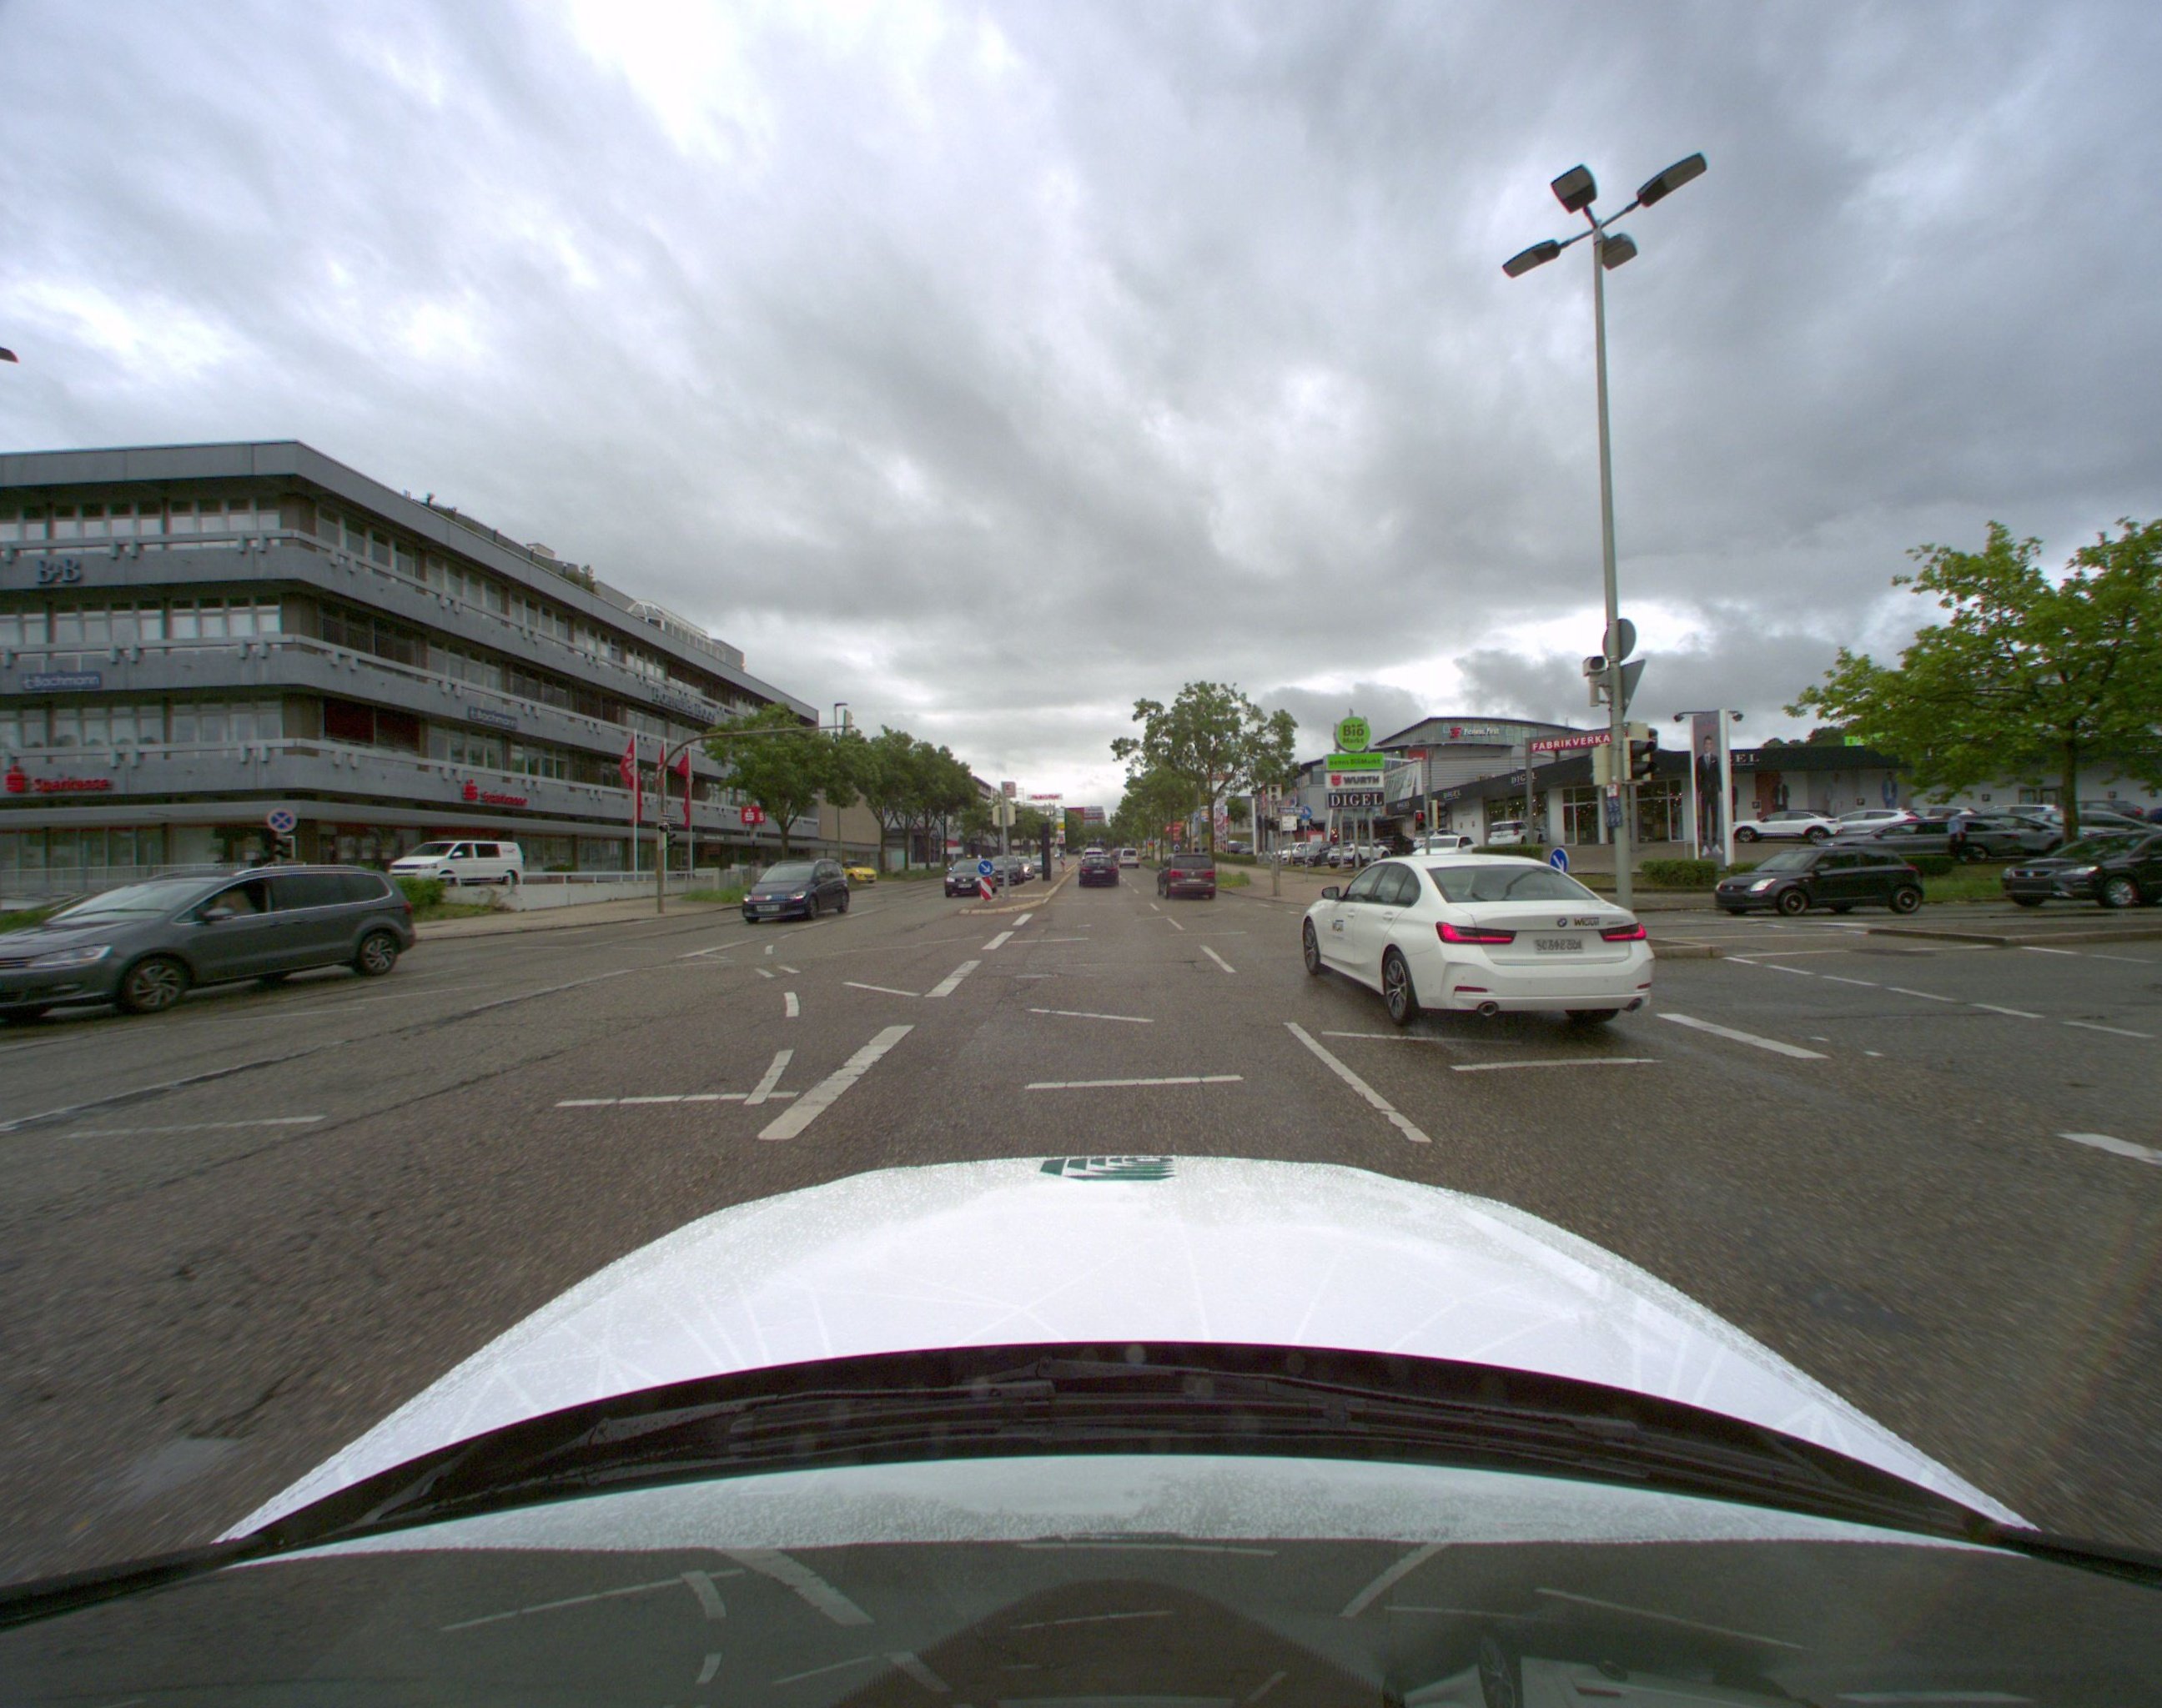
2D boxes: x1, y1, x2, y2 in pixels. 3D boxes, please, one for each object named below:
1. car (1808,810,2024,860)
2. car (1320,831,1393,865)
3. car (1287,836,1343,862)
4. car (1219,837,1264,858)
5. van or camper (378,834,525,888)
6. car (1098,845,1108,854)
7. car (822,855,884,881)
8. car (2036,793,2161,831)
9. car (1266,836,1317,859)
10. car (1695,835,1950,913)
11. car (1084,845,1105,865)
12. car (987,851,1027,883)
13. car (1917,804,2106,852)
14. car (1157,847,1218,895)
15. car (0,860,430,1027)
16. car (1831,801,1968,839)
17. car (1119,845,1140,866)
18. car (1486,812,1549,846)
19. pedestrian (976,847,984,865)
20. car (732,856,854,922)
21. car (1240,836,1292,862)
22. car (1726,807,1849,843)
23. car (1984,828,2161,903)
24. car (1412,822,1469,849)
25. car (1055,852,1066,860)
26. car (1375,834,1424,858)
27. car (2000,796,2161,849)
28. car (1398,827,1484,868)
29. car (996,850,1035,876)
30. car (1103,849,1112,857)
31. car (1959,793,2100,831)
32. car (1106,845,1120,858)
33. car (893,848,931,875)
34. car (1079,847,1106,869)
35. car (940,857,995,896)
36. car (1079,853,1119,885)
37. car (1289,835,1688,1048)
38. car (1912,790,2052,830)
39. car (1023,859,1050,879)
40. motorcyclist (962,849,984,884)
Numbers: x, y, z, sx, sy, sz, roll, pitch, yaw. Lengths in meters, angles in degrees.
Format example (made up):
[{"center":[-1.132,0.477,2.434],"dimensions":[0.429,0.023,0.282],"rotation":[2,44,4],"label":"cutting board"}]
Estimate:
[{"center":[28.052,-0.596,27.586],"dimensions":[2.011,1.486,4.948],"rotation":[-2,0,-43],"label":"car"},{"center":[15.711,-0.343,46.413],"dimensions":[4.047,1.662,1.960],"rotation":[-4,1,-38],"label":"car"},{"center":[15.016,-0.314,52.179],"dimensions":[3.616,1.536,1.625],"rotation":[-2,0,-38],"label":"car"},{"center":[16.066,-0.659,81.676],"dimensions":[4.093,1.904,1.801],"rotation":[-2,0,3],"label":"car"},{"center":[-24.904,0.296,32.504],"dimensions":[1.986,1.967,4.789],"rotation":[0,-1,2],"label":"van or camper"},{"center":[3.613,-0.728,134.844],"dimensions":[1.510,1.474,3.445],"rotation":[0,-1,1],"label":"car"},{"center":[-15.109,0.941,53.903],"dimensions":[3.948,1.552,1.912],"rotation":[-2,0,36],"label":"car"},{"center":[46.527,-1.894,36.944],"dimensions":[1.747,1.481,4.106],"rotation":[-2,0,-39],"label":"car"},{"center":[15.464,-0.468,59.725],"dimensions":[3.616,1.536,1.776],"rotation":[-2,0,-38],"label":"car"},{"center":[16.437,0.438,18.229],"dimensions":[3.964,1.489,1.818],"rotation":[-3,-1,1],"label":"car"},{"center":[1.396,0.131,81.497],"dimensions":[1.986,2.014,4.001],"rotation":[0,-1,2],"label":"car"},{"center":[-3.833,0.648,42.781],"dimensions":[1.740,1.489,4.826],"rotation":[-2,0,-2],"label":"car"},{"center":[31.451,-0.823,27.631],"dimensions":[1.992,1.380,4.107],"rotation":[2,-2,-38],"label":"car"},{"center":[3.740,0.565,29.292],"dimensions":[1.794,1.587,4.453],"rotation":[0,0,2],"label":"car"},{"center":[-11.951,1.004,11.211],"dimensions":[1.904,1.727,4.885],"rotation":[-2,0,1],"label":"car"},{"center":[37.193,-1.524,37.101],"dimensions":[1.745,1.481,4.109],"rotation":[-2,0,-35],"label":"car"},{"center":[4.459,0.148,75.028],"dimensions":[1.775,1.866,4.001],"rotation":[-2,0,1],"label":"car"},{"center":[24.398,-1.374,45.445],"dimensions":[4.177,1.771,1.717],"rotation":[-2,0,-42],"label":"car"},{"center":[-12.327,0.209,99.680],"dimensions":[0.856,2.218,0.845],"rotation":[-1,0,-2],"label":"pedestrian"},{"center":[-7.941,0.882,22.911],"dimensions":[1.906,1.608,4.360],"rotation":[-2,0,-2],"label":"car"},{"center":[16.043,-0.405,70.678],"dimensions":[4.094,2.105,1.801],"rotation":[-1,0,3],"label":"car"},{"center":[33.074,-1.339,38.211],"dimensions":[1.747,1.481,4.106],"rotation":[-2,0,-39],"label":"car"},{"center":[22.689,0.251,17.614],"dimensions":[4.118,1.548,1.741],"rotation":[0,-1,6],"label":"car"},{"center":[24.385,-1.264,55.123],"dimensions":[4.174,1.771,1.718],"rotation":[-2,0,-38],"label":"car"},{"center":[-3.805,0.296,152.290],"dimensions":[1.936,1.448,4.001],"rotation":[-1,0,1],"label":"car"},{"center":[24.182,-0.602,61.803],"dimensions":[3.995,1.720,1.615],"rotation":[-2,0,-38],"label":"car"},{"center":[34.587,-1.016,27.780],"dimensions":[2.009,1.579,4.179],"rotation":[2,-2,-38],"label":"car"},{"center":[15.054,-0.284,33.922],"dimensions":[1.908,1.576,4.314],"rotation":[-2,0,43],"label":"car"},{"center":[-3.994,0.526,50.380],"dimensions":[1.834,1.377,4.863],"rotation":[-5,0,0],"label":"car"},{"center":[4.860,-0.147,150.872],"dimensions":[1.614,1.495,3.360],"rotation":[0,-1,1],"label":"car"},{"center":[43.520,-1.892,37.452],"dimensions":[1.747,1.481,4.106],"rotation":[-2,0,-39],"label":"car"},{"center":[4.122,-0.314,104.845],"dimensions":[1.678,1.684,3.404],"rotation":[0,-1,2],"label":"car"},{"center":[-13.326,0.597,64.363],"dimensions":[1.985,2.014,4.002],"rotation":[0,-1,2],"label":"car"},{"center":[0.789,0.255,56.347],"dimensions":[1.677,1.377,3.997],"rotation":[-2,0,-2],"label":"car"},{"center":[-4.479,0.853,32.598],"dimensions":[1.677,1.377,3.997],"rotation":[-2,0,-2],"label":"car"},{"center":[0.853,0.671,38.471],"dimensions":[1.775,1.398,4.001],"rotation":[-1,0,1],"label":"car"},{"center":[3.562,0.650,8.245],"dimensions":[1.795,1.544,4.620],"rotation":[0,0,1],"label":"car"},{"center":[40.409,-1.925,36.597],"dimensions":[1.747,1.481,4.106],"rotation":[-2,0,-39],"label":"car"},{"center":[-3.585,1.190,66.500],"dimensions":[1.717,1.398,4.790],"rotation":[-4,0,1],"label":"car"},{"center":[-4.928,0.564,37.220],"dimensions":[0.804,1.559,1.267],"rotation":[-1,0,0],"label":"motorcyclist"}]
